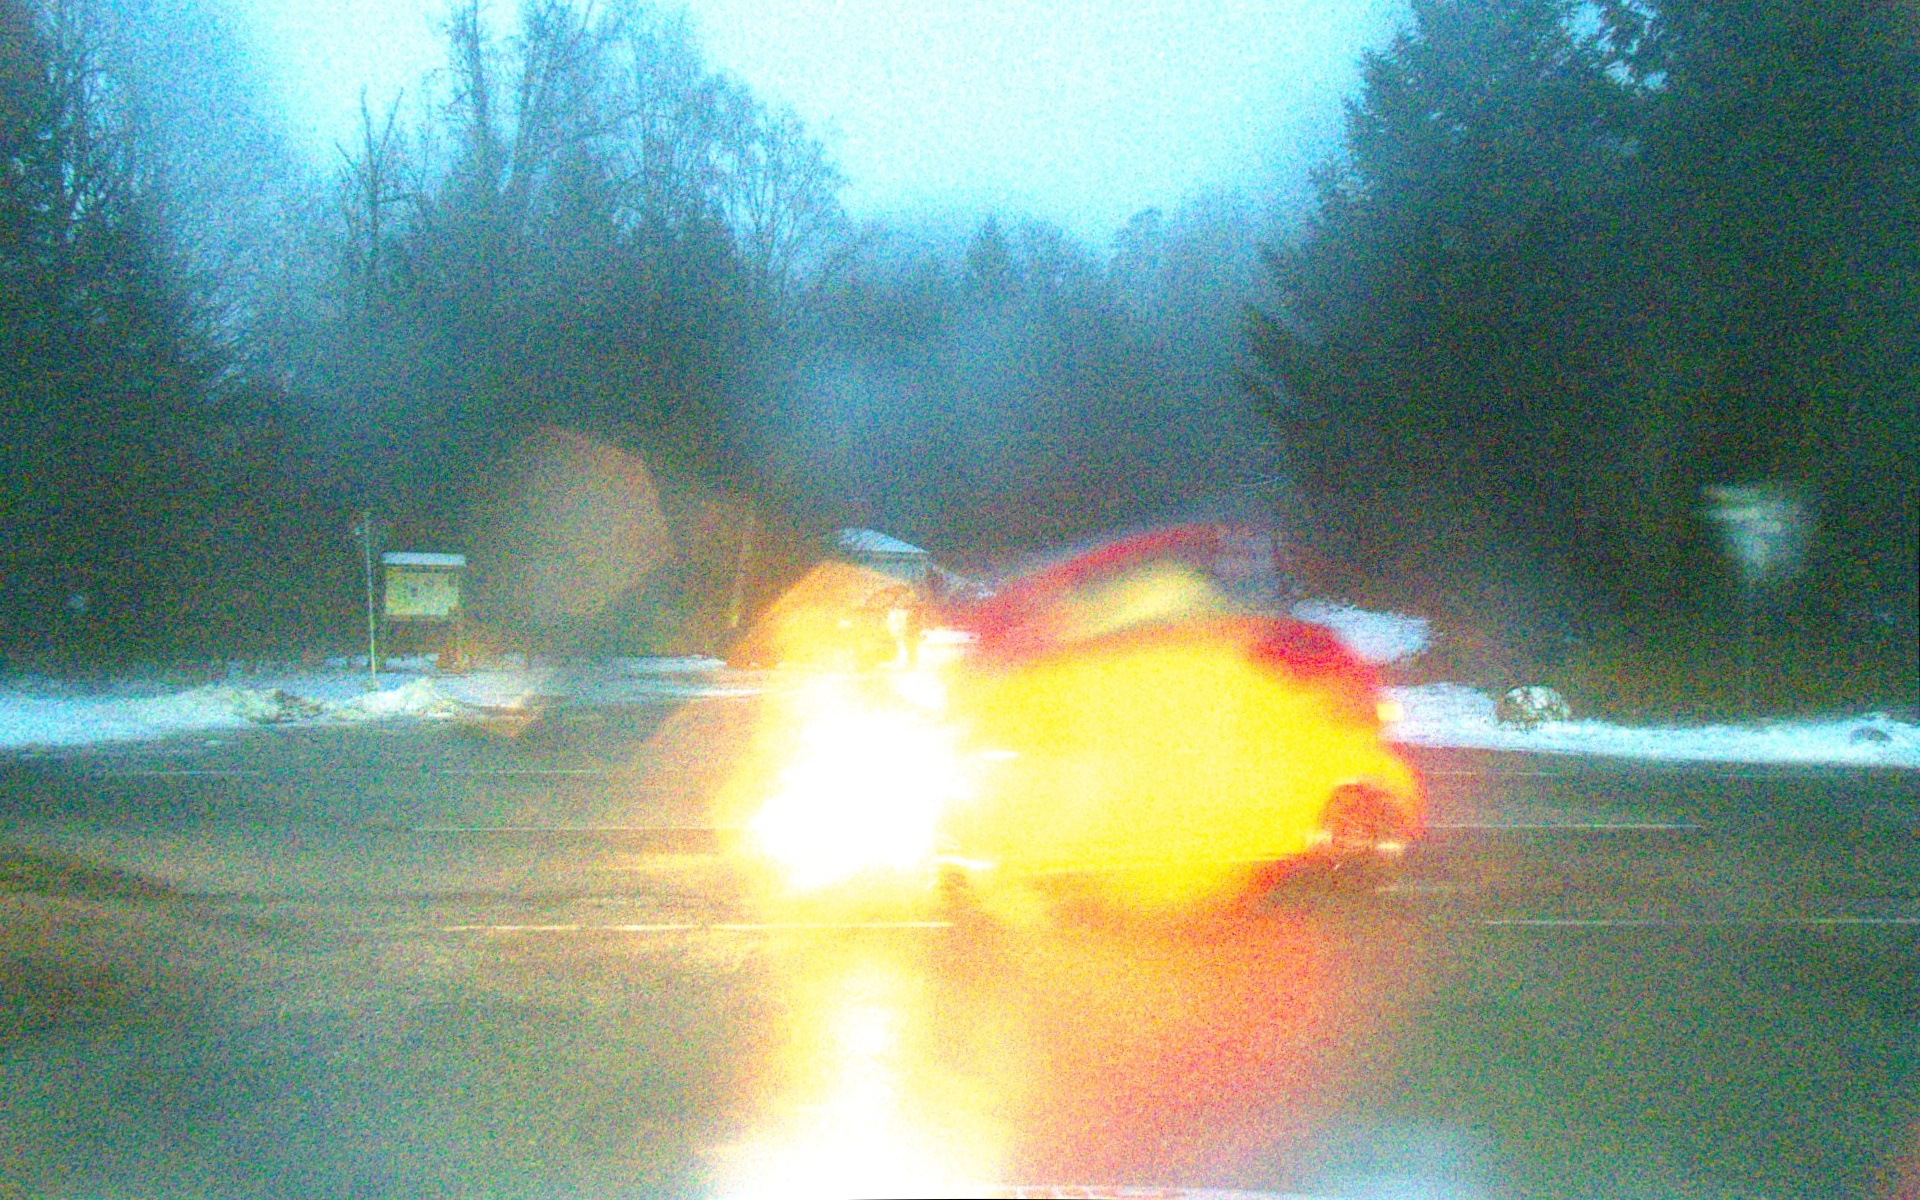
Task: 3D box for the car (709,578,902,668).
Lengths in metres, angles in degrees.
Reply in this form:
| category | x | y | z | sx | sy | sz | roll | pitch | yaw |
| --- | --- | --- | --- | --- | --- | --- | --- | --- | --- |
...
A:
| category | x | y | z | sx | sy | sz | roll | pitch | yaw |
| --- | --- | --- | --- | --- | --- | --- | --- | --- | --- |
| car | -3.494 | 0.522 | 37.612 | 3.863 | 1.914 | 2.001 | 1 | -1 | 16 |

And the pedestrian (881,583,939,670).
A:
| category | x | y | z | sx | sy | sz | roll | pitch | yaw |
| --- | --- | --- | --- | --- | --- | --- | --- | --- | --- |
| pedestrian | -1.092 | 0.587 | 36.390 | 0.941 | 1.860 | 0.925 | 1 | -2 | 20 |

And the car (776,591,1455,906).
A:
| category | x | y | z | sx | sy | sz | roll | pitch | yaw |
| --- | --- | --- | --- | --- | --- | --- | --- | --- | --- |
| car | 0.791 | 0.722 | 9.004 | 3.347 | 1.478 | 1.570 | 1 | 0 | -16 |
